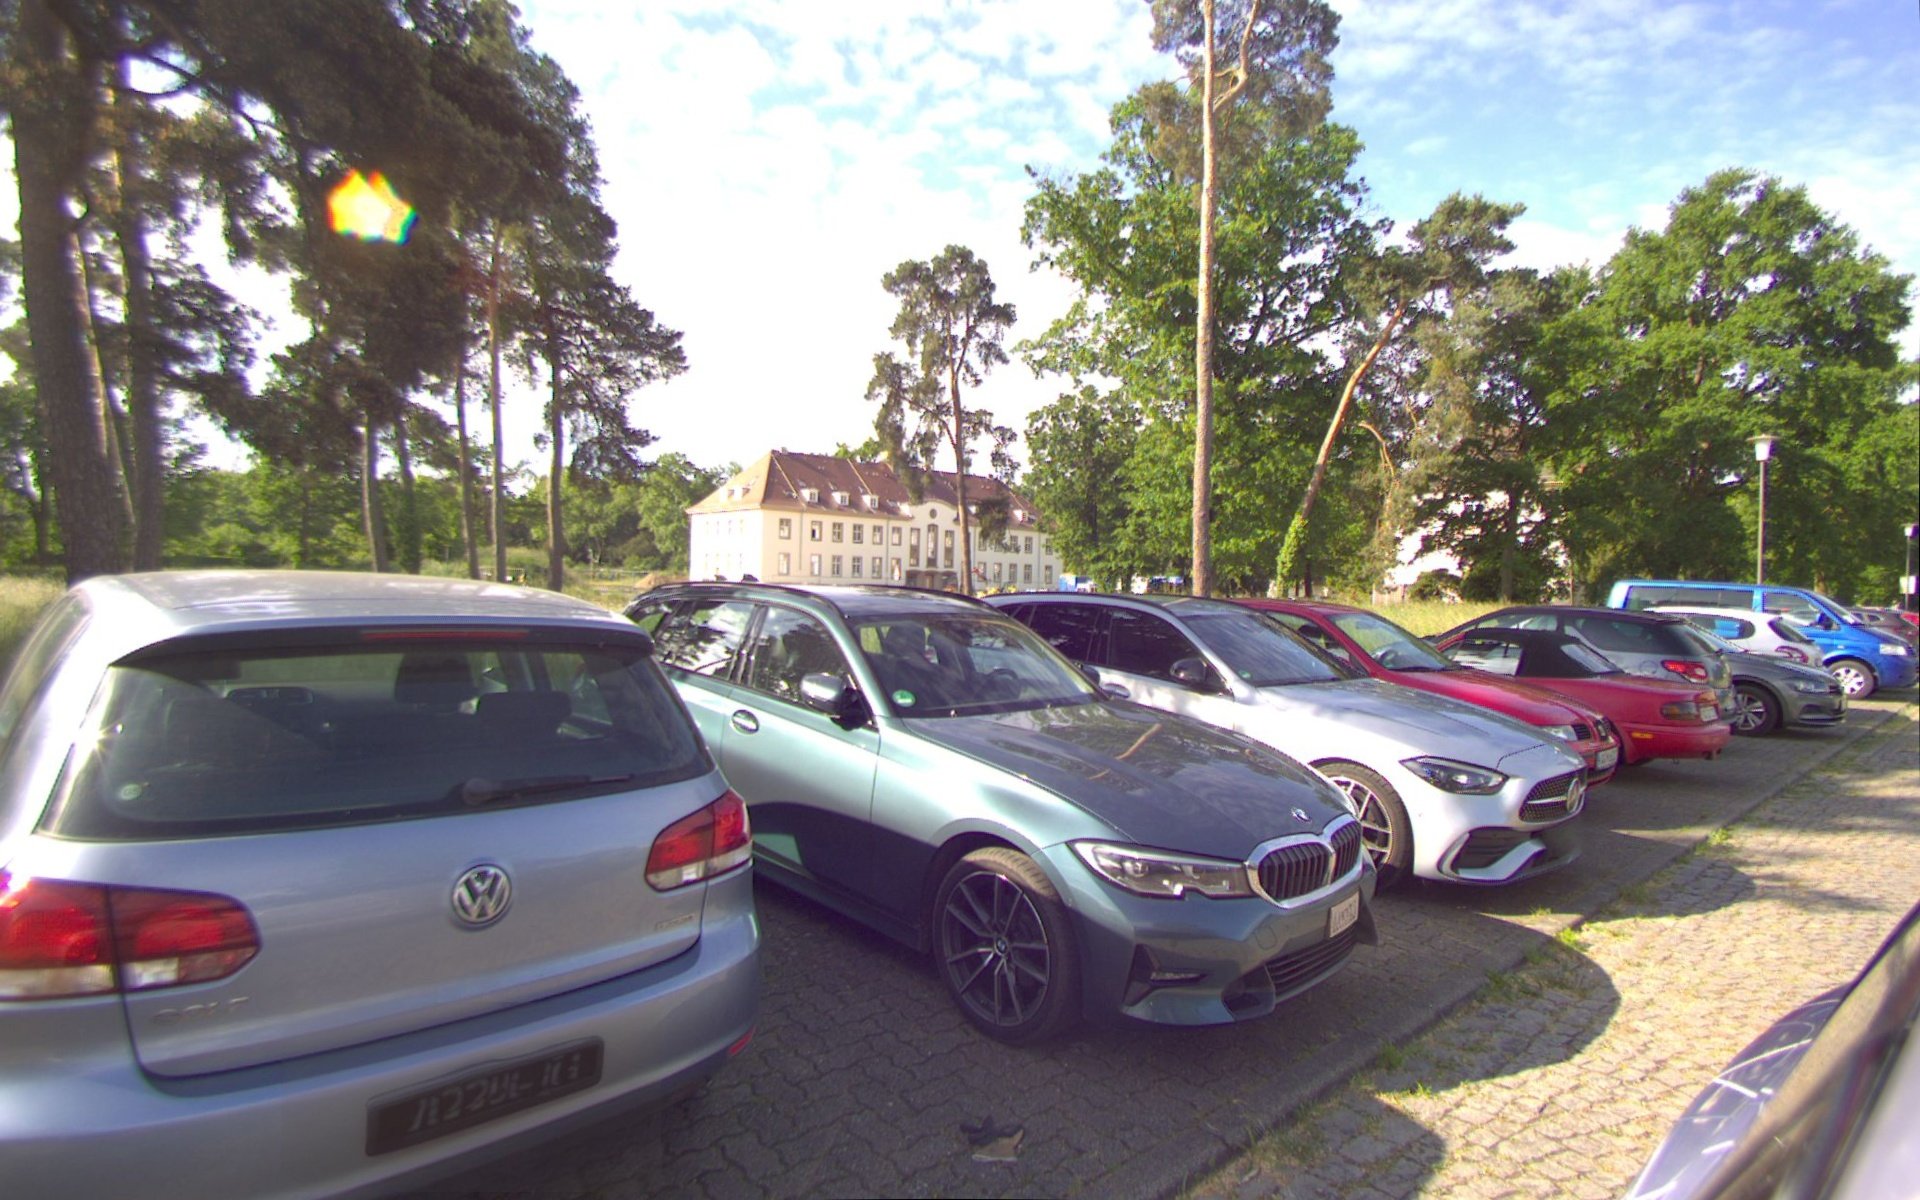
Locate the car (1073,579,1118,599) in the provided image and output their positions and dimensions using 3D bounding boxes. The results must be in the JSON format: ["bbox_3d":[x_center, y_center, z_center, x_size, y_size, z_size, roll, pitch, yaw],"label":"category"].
[{"bbox_3d":[14.024,-1.125,104.432,4.689,2.039,1.997,1,1,-41],"label":"car"}]

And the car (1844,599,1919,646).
[{"bbox_3d":[36.511,0.836,38.577,1.725,1.763,3.996,1,-1,-38],"label":"car"}]

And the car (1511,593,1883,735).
[{"bbox_3d":[9.423,0.711,13.236,1.478,1.509,3.630,1,1,-32],"label":"car"}]

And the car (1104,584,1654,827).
[{"bbox_3d":[3.260,0.657,8.482,1.632,1.410,3.915,0,2,-42],"label":"car"}]

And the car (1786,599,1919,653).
[{"bbox_3d":[28.913,0.805,32.058,1.725,1.537,3.997,1,1,-38],"label":"car"}]

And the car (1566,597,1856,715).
[{"bbox_3d":[11.284,0.750,15.366,1.423,1.509,3.264,1,1,-39],"label":"car"}]

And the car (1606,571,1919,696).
[{"bbox_3d":[15.152,0.509,18.991,1.964,2.039,4.725,1,1,-40],"label":"car"}]

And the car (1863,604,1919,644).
[{"bbox_3d":[39.966,0.977,41.597,1.724,1.635,3.997,-1,-1,-37],"label":"car"}]

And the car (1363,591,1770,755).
[{"bbox_3d":[6.863,0.702,11.752,1.522,1.509,3.775,1,1,-42],"label":"car"}]

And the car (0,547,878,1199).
[{"bbox_3d":[-2.234,0.596,3.398,1.839,1.478,4.022,0,2,-42],"label":"car"}]

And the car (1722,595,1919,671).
[{"bbox_3d":[21.539,0.751,25.025,1.725,1.660,3.997,1,1,-38],"label":"car"}]

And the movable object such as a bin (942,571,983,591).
[{"bbox_3d":[0.324,-2.279,121.774,1.994,2.352,4.906,2,1,44],"label":"movable object such as a bin"}]

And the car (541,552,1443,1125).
[{"bbox_3d":[-0.280,0.592,5.057,1.796,1.535,4.499,0,2,-44],"label":"car"}]

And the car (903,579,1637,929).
[{"bbox_3d":[1.716,0.667,6.837,1.795,1.419,4.419,1,3,-42],"label":"car"}]

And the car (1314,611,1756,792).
[{"bbox_3d":[5.255,0.801,9.554,1.395,1.271,3.353,0,1,-42],"label":"car"}]
